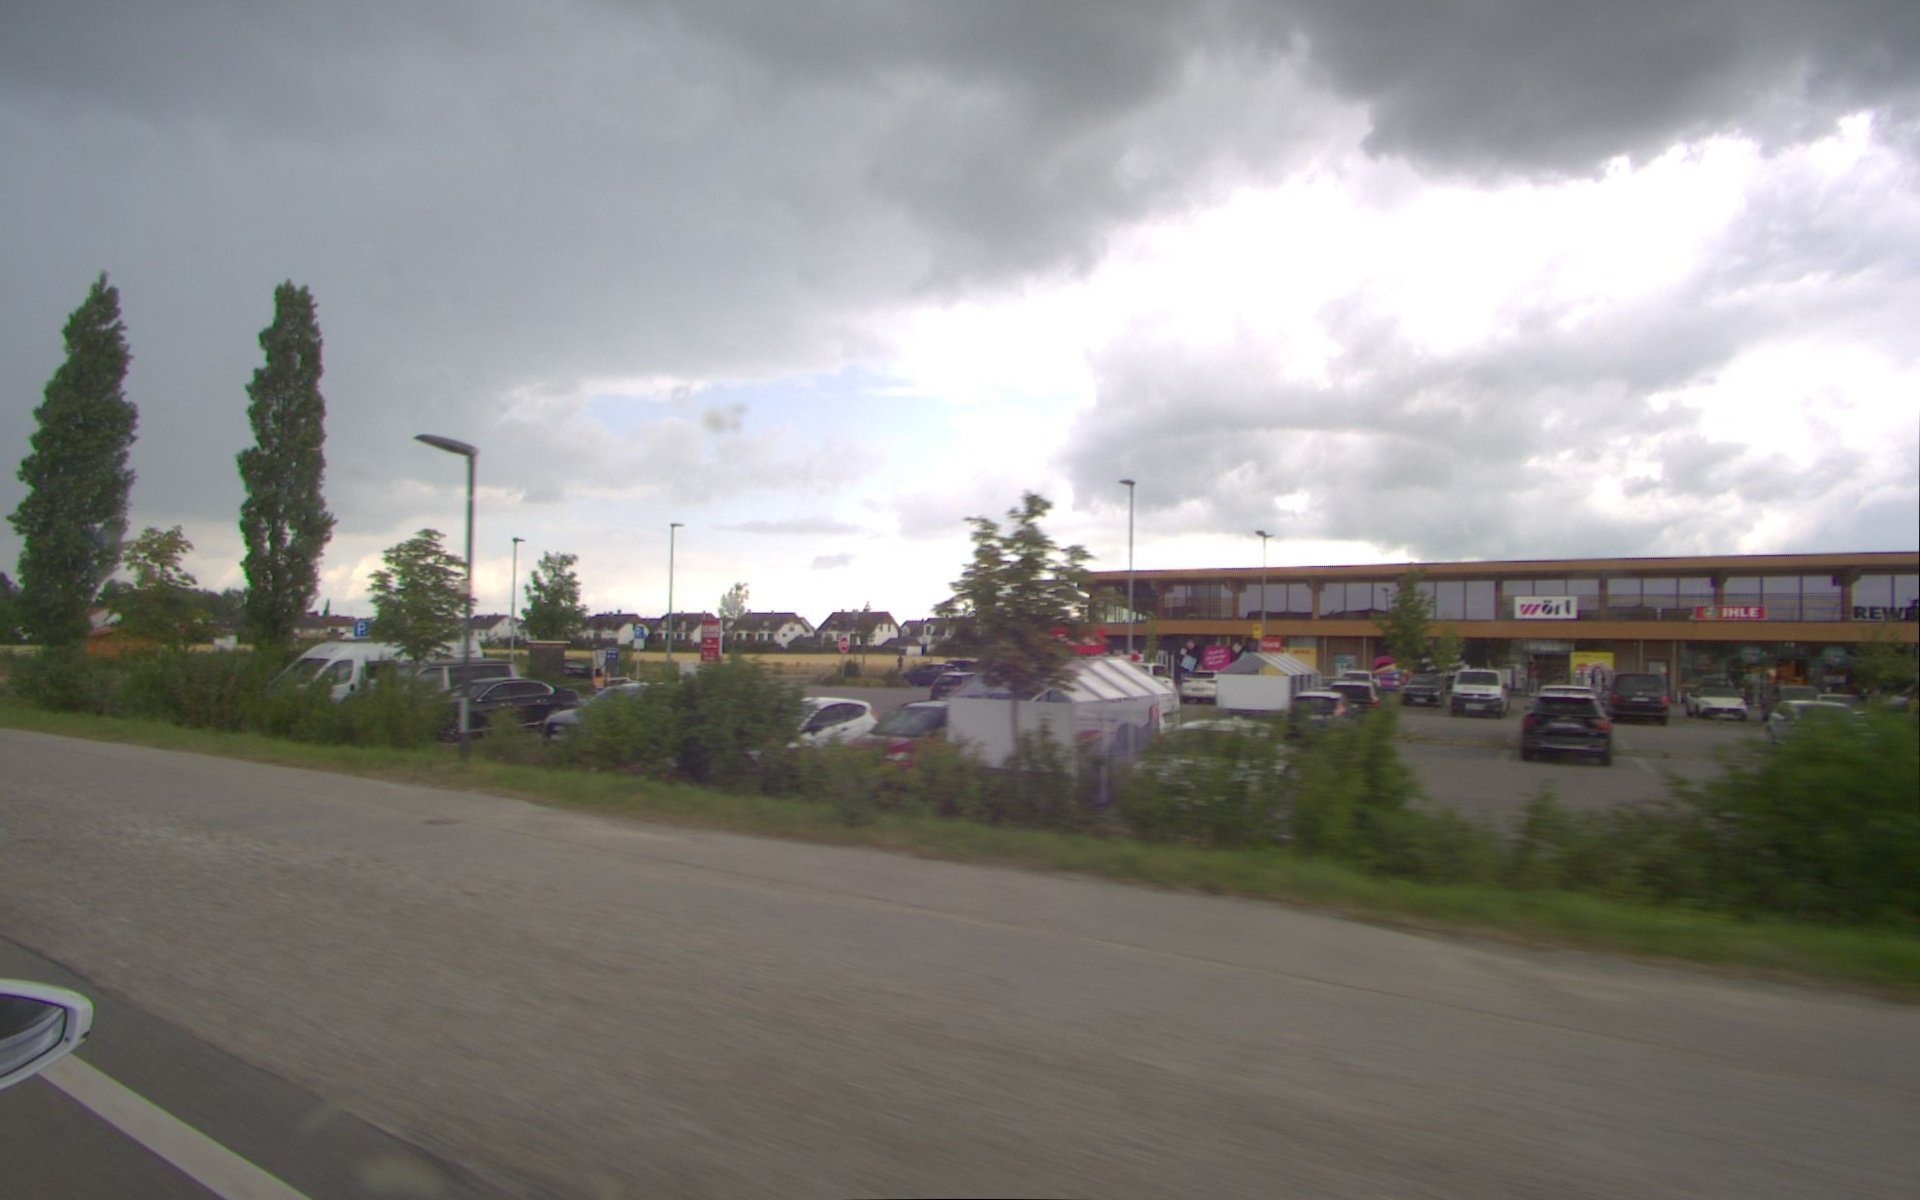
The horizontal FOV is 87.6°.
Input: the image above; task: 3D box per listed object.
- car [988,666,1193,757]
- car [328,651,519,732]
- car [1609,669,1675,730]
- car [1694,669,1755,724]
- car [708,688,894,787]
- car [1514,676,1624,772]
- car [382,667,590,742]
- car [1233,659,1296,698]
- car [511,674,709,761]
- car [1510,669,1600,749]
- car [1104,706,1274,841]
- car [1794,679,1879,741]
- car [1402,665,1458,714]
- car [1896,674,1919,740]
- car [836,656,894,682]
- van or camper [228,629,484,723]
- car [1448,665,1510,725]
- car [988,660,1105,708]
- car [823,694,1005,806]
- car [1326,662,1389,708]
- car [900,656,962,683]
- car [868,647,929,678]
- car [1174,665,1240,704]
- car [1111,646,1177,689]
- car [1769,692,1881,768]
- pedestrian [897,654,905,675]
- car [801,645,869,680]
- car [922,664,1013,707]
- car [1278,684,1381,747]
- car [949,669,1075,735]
[{"bbox_3d":[3.336,2.785,25.908,4.873,1.931,2.099,0,-1,33],"label":"car"},{"bbox_3d":[-15.556,2.576,29.304,1.970,2.040,4.587,0,-1,30],"label":"car"},{"bbox_3d":[26.641,3.809,39.062,1.974,2.040,3.974,0,-1,36],"label":"car"},{"bbox_3d":[32.422,4.037,42.555,1.974,2.040,3.974,0,-1,36],"label":"car"},{"bbox_3d":[-3.229,2.794,21.135,1.651,1.558,4.141,0,-1,30],"label":"car"},{"bbox_3d":[15.067,2.936,24.679,1.974,1.895,4.247,0,-1,36],"label":"car"},{"bbox_3d":[-12.787,2.758,27.402,1.732,1.618,5.089,0,-1,30],"label":"car"},{"bbox_3d":[15.797,4.013,51.842,1.920,1.772,3.974,0,-1,36],"label":"car"},{"bbox_3d":[-8.220,2.702,23.894,2.049,1.618,4.141,0,-1,30],"label":"car"},{"bbox_3d":[18.037,3.215,30.275,1.974,2.040,3.974,0,-1,36],"label":"car"},{"bbox_3d":[3.806,2.657,16.170,1.651,1.558,3.751,0,-1,30],"label":"car"},{"bbox_3d":[31.898,3.965,36.539,1.974,2.038,3.978,0,-4,36],"label":"car"},{"bbox_3d":[23.049,4.295,49.020,1.971,2.040,5.122,0,-1,31],"label":"car"},{"bbox_3d":[34.356,3.732,34.958,1.974,2.040,3.974,0,-1,36],"label":"car"},{"bbox_3d":[-6.254,4.522,65.919,3.528,1.527,1.742,0,-1,32],"label":"car"},{"bbox_3d":[-18.185,2.168,30.641,2.247,2.496,6.460,0,-1,30],"label":"van or camper"},{"bbox_3d":[21.422,3.834,41.211,1.971,2.040,5.122,0,-1,31],"label":"car"},{"bbox_3d":[3.874,3.790,45.451,5.131,2.040,2.000,0,-1,-1],"label":"car"},{"bbox_3d":[-0.749,2.692,18.681,1.651,1.558,3.751,0,-1,30],"label":"car"},{"bbox_3d":[20.015,4.211,50.344,1.974,2.040,3.974,0,-1,36],"label":"car"},{"bbox_3d":[-1.823,4.316,62.911,3.528,1.527,1.742,0,-1,32],"label":"car"},{"bbox_3d":[-4.336,4.395,70.689,3.943,2.040,1.990,0,-1,32],"label":"car"},{"bbox_3d":[11.876,4.011,48.054,2.010,1.628,3.731,0,-1,32],"label":"car"},{"bbox_3d":[9.149,3.285,49.576,2.008,1.936,3.888,0,-1,30],"label":"car"},{"bbox_3d":[23.489,3.461,27.336,1.974,1.572,4.105,0,-1,36],"label":"car"},{"bbox_3d":[-5.239,5.718,88.751,0.591,1.784,0.481,0,0,32],"label":"pedestrian"},{"bbox_3d":[-7.903,3.922,63.168,3.943,2.040,1.990,0,-1,32],"label":"car"},{"bbox_3d":[0.357,3.401,40.415,1.874,1.451,4.172,0,-1,30],"label":"car"},{"bbox_3d":[10.328,3.130,27.819,1.971,1.460,3.983,0,-3,31],"label":"car"},{"bbox_3d":[1.630,3.003,30.259,1.974,1.639,3.974,0,-1,36],"label":"car"}]
